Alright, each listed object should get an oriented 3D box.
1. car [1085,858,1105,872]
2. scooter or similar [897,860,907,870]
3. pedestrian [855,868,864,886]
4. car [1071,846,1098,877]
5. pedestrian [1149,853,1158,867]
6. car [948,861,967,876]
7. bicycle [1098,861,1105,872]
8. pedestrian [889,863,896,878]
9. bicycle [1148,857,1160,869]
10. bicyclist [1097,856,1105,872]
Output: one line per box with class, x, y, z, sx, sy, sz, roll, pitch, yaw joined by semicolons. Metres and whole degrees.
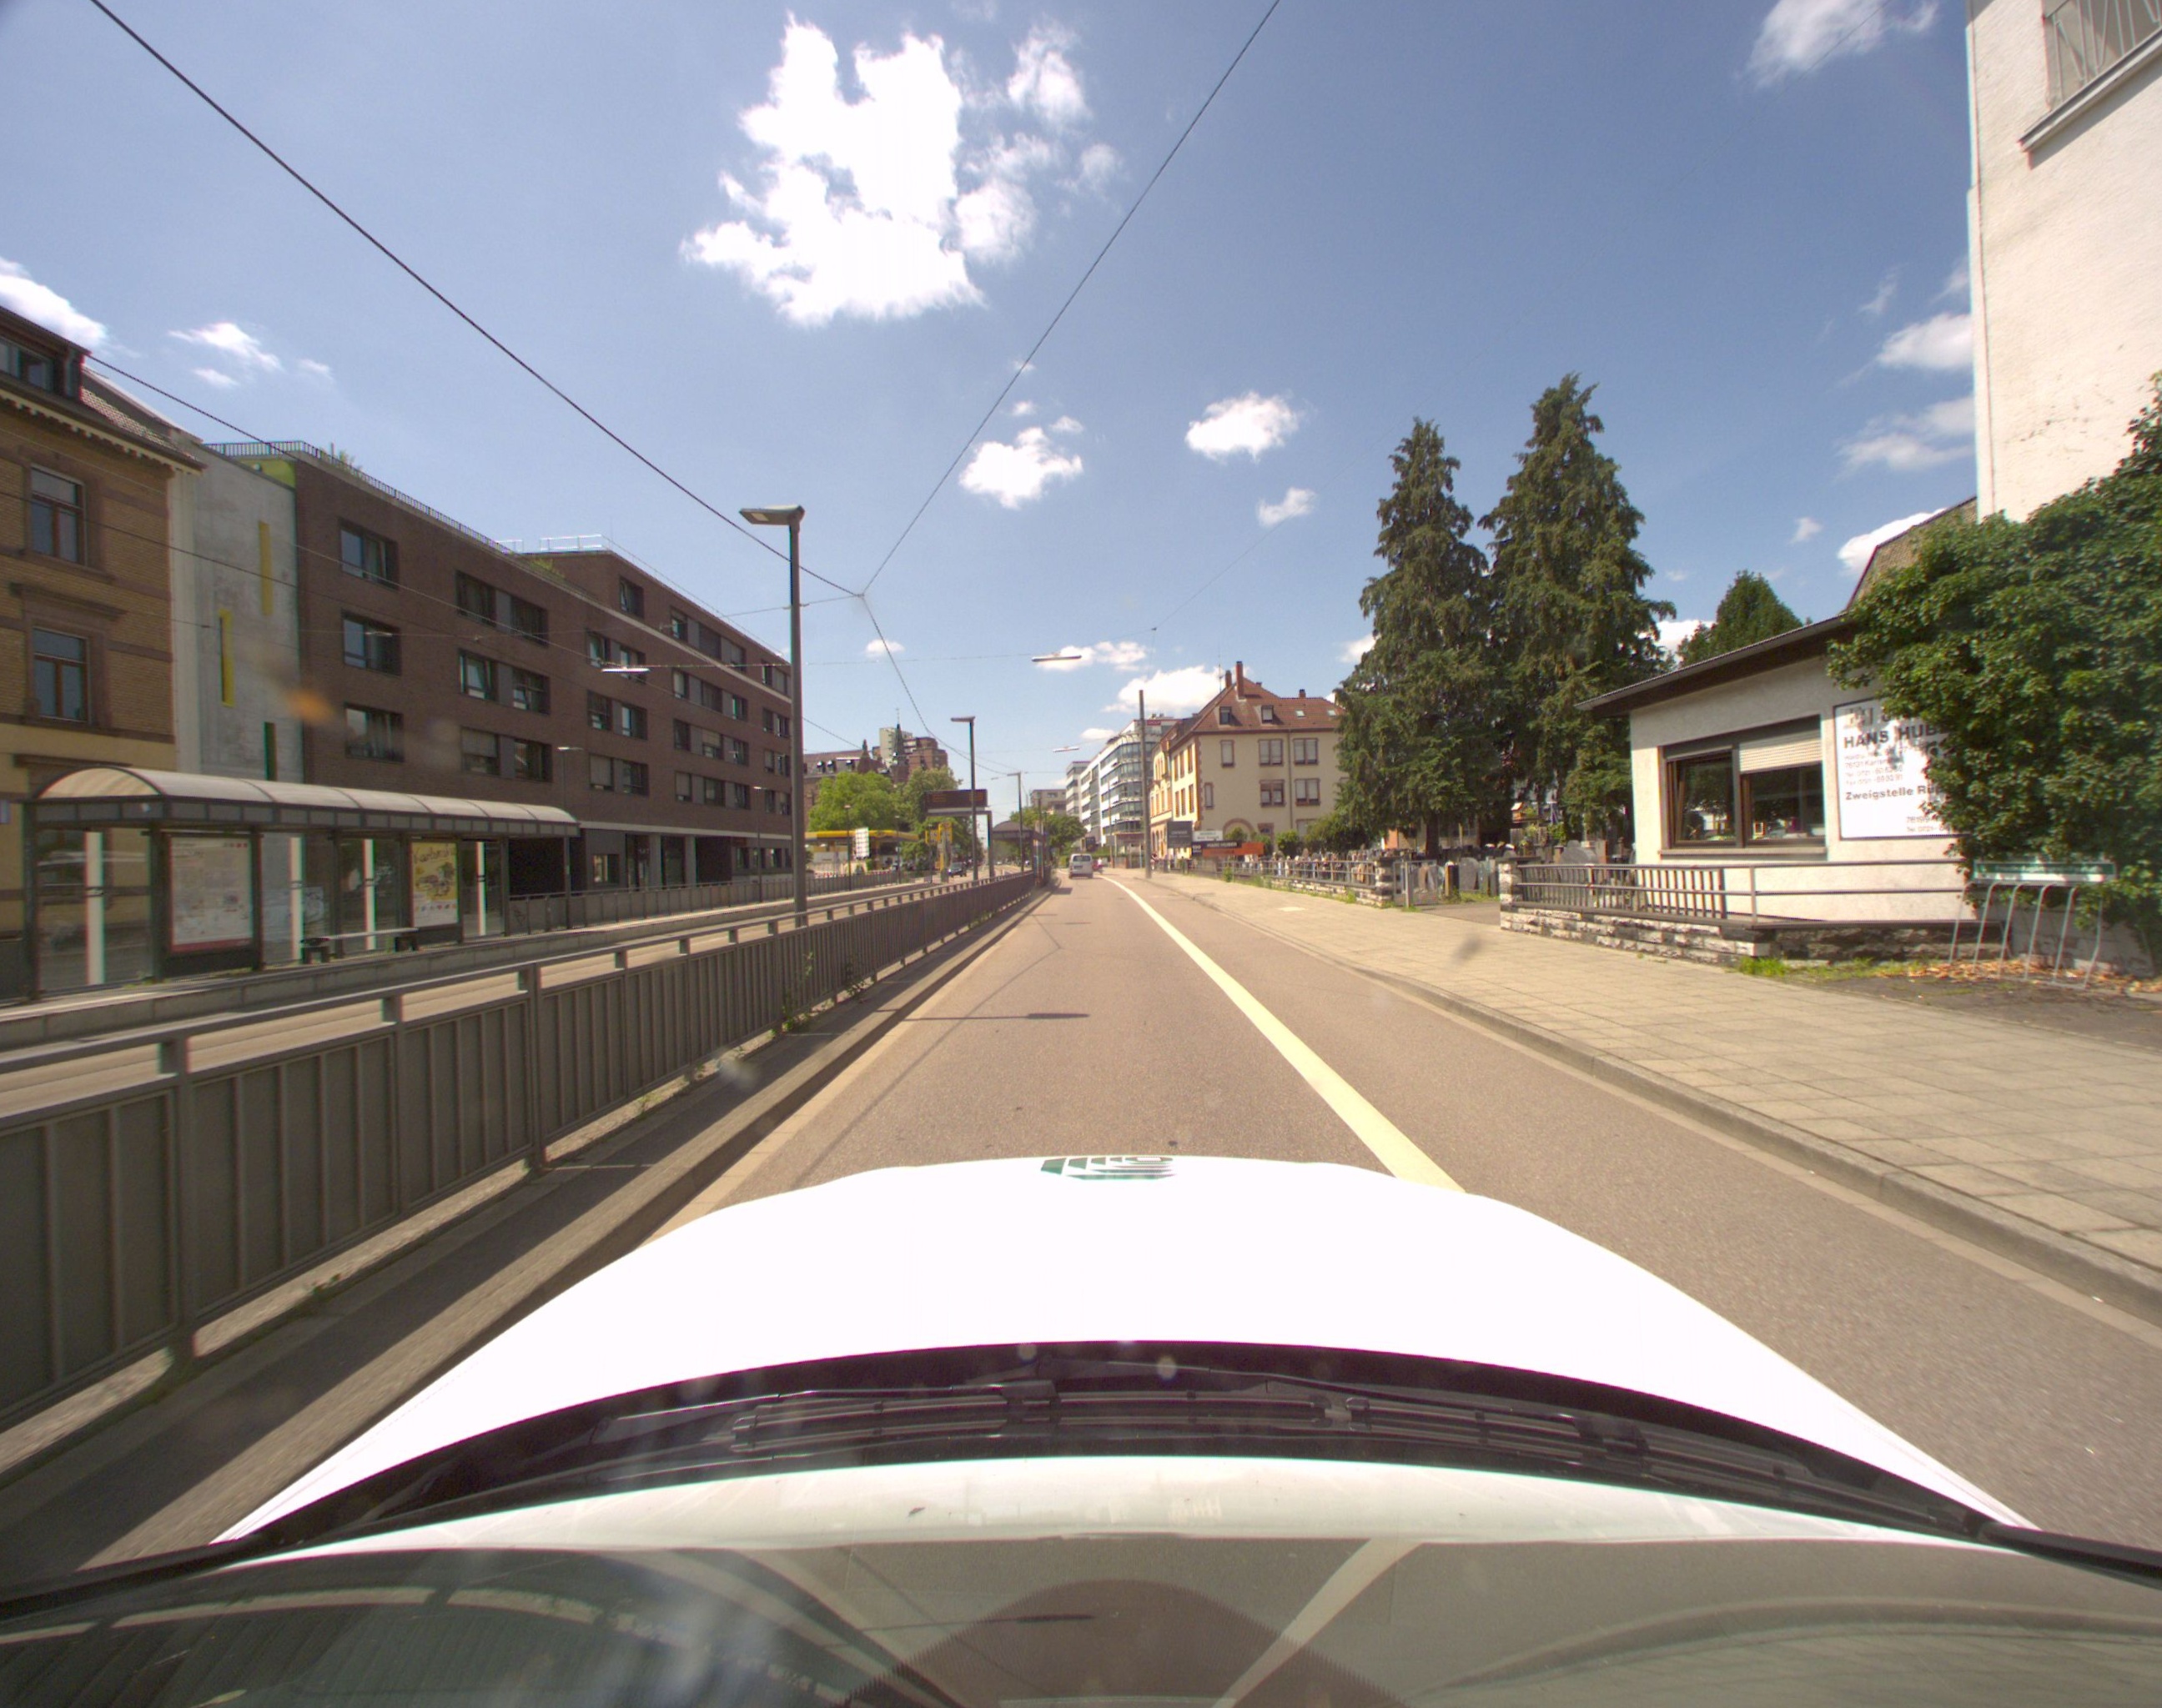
car;1.662;1.297;97.457;1.710;1.452;4.063;-6;1;-6
scooter or similar;-29.971;1.843;136.422;1.308;1.466;1.060;-4;-1;4
pedestrian;-17.070;1.776;62.781;0.434;1.384;0.536;-6;-1;1
car;0.225;0.512;60.863;1.747;2.013;3.998;-5;1;-1
pedestrian;5.789;0.473;65.039;0.485;1.053;0.533;-5;-1;-20
car;-13.953;1.666;92.498;1.695;1.616;3.753;-3;0;-3
bicycle;1.863;1.164;75.309;0.465;0.887;2.046;-3;1;-3
pedestrian;-21.752;1.866;94.009;0.551;1.658;0.672;-3;0;0
bicycle;5.848;0.728;65.063;0.358;0.940;1.307;-5;-1;-21
bicyclist;1.815;0.948;75.350;0.590;1.396;0.840;-3;0;-4
